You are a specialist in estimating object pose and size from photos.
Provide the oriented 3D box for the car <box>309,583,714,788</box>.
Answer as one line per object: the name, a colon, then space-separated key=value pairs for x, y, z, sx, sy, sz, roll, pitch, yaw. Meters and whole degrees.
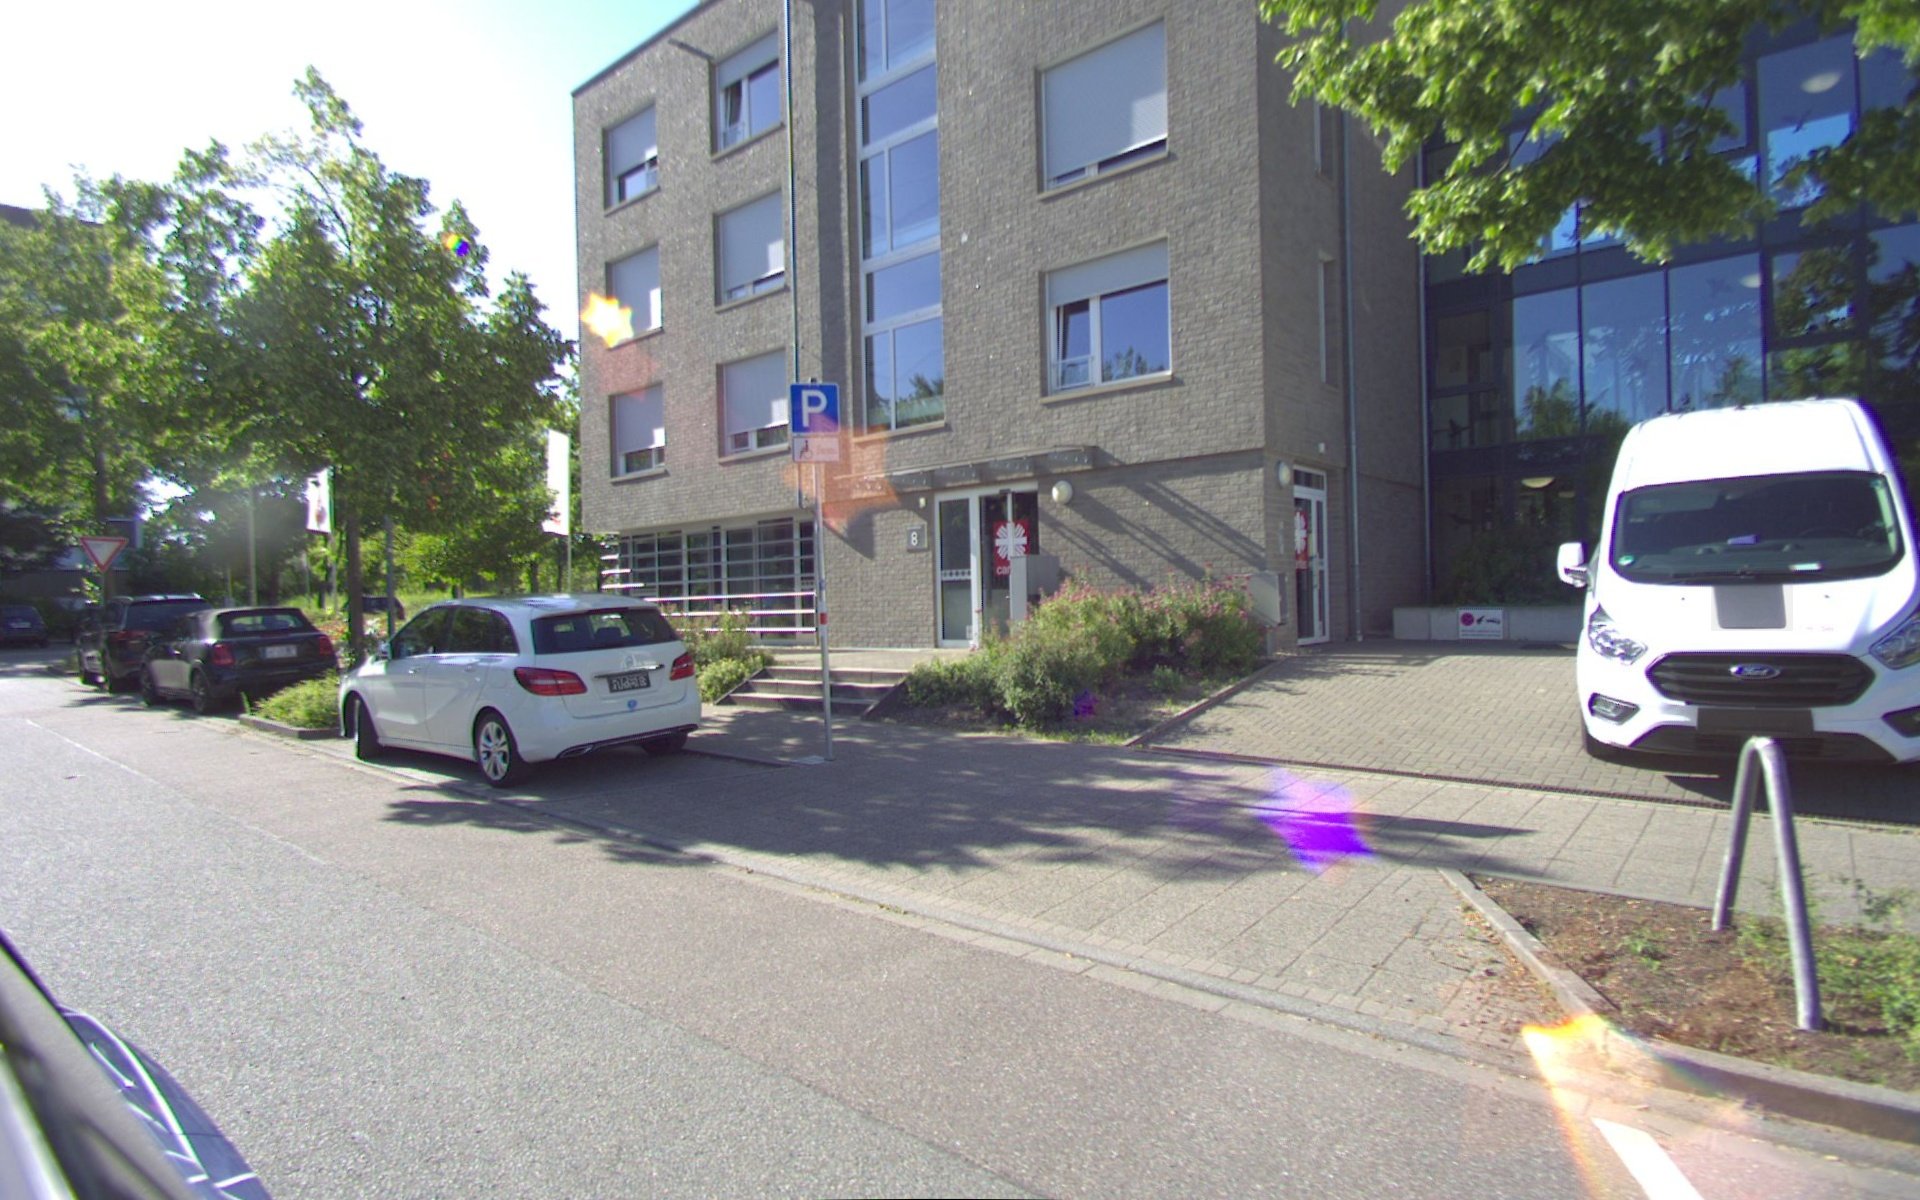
car: x=-4.375 y=0.681 z=9.576 sx=4.280 sy=1.544 sz=1.644 roll=-2 pitch=-1 yaw=37

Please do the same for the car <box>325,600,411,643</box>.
car: x=-26.424 y=0.903 z=45.120 sx=4.600 sy=1.792 sz=1.973 roll=0 pitch=1 yaw=41

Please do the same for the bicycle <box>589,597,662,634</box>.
bicycle: x=-10.074 y=0.456 z=30.536 sx=0.438 sy=1.055 sz=2.163 roll=-3 pitch=-1 yaw=40

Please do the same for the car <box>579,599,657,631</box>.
car: x=-18.247 y=0.800 z=53.912 sx=4.450 sy=1.557 sz=1.794 roll=-3 pitch=-1 yaw=38

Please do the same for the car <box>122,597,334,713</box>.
car: x=-10.992 y=0.755 z=15.121 sx=3.784 sy=1.515 sz=1.563 roll=-1 pitch=0 yaw=38

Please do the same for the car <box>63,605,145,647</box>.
car: x=-32.550 y=0.943 z=38.441 sx=3.998 sy=1.397 sz=1.798 roll=2 pitch=2 yaw=41

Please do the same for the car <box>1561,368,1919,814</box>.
car: x=6.188 y=-0.424 z=7.946 sx=1.918 sy=2.398 sz=5.401 roll=-1 pitch=8 yaw=37

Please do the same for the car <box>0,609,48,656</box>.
car: x=-34.285 y=1.125 z=36.317 sx=3.816 sy=1.510 sz=1.680 roll=1 pitch=1 yaw=38

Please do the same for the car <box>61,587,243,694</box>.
car: x=-14.951 y=0.660 z=18.652 sx=4.338 sy=1.631 sz=1.867 roll=0 pitch=4 yaw=42
